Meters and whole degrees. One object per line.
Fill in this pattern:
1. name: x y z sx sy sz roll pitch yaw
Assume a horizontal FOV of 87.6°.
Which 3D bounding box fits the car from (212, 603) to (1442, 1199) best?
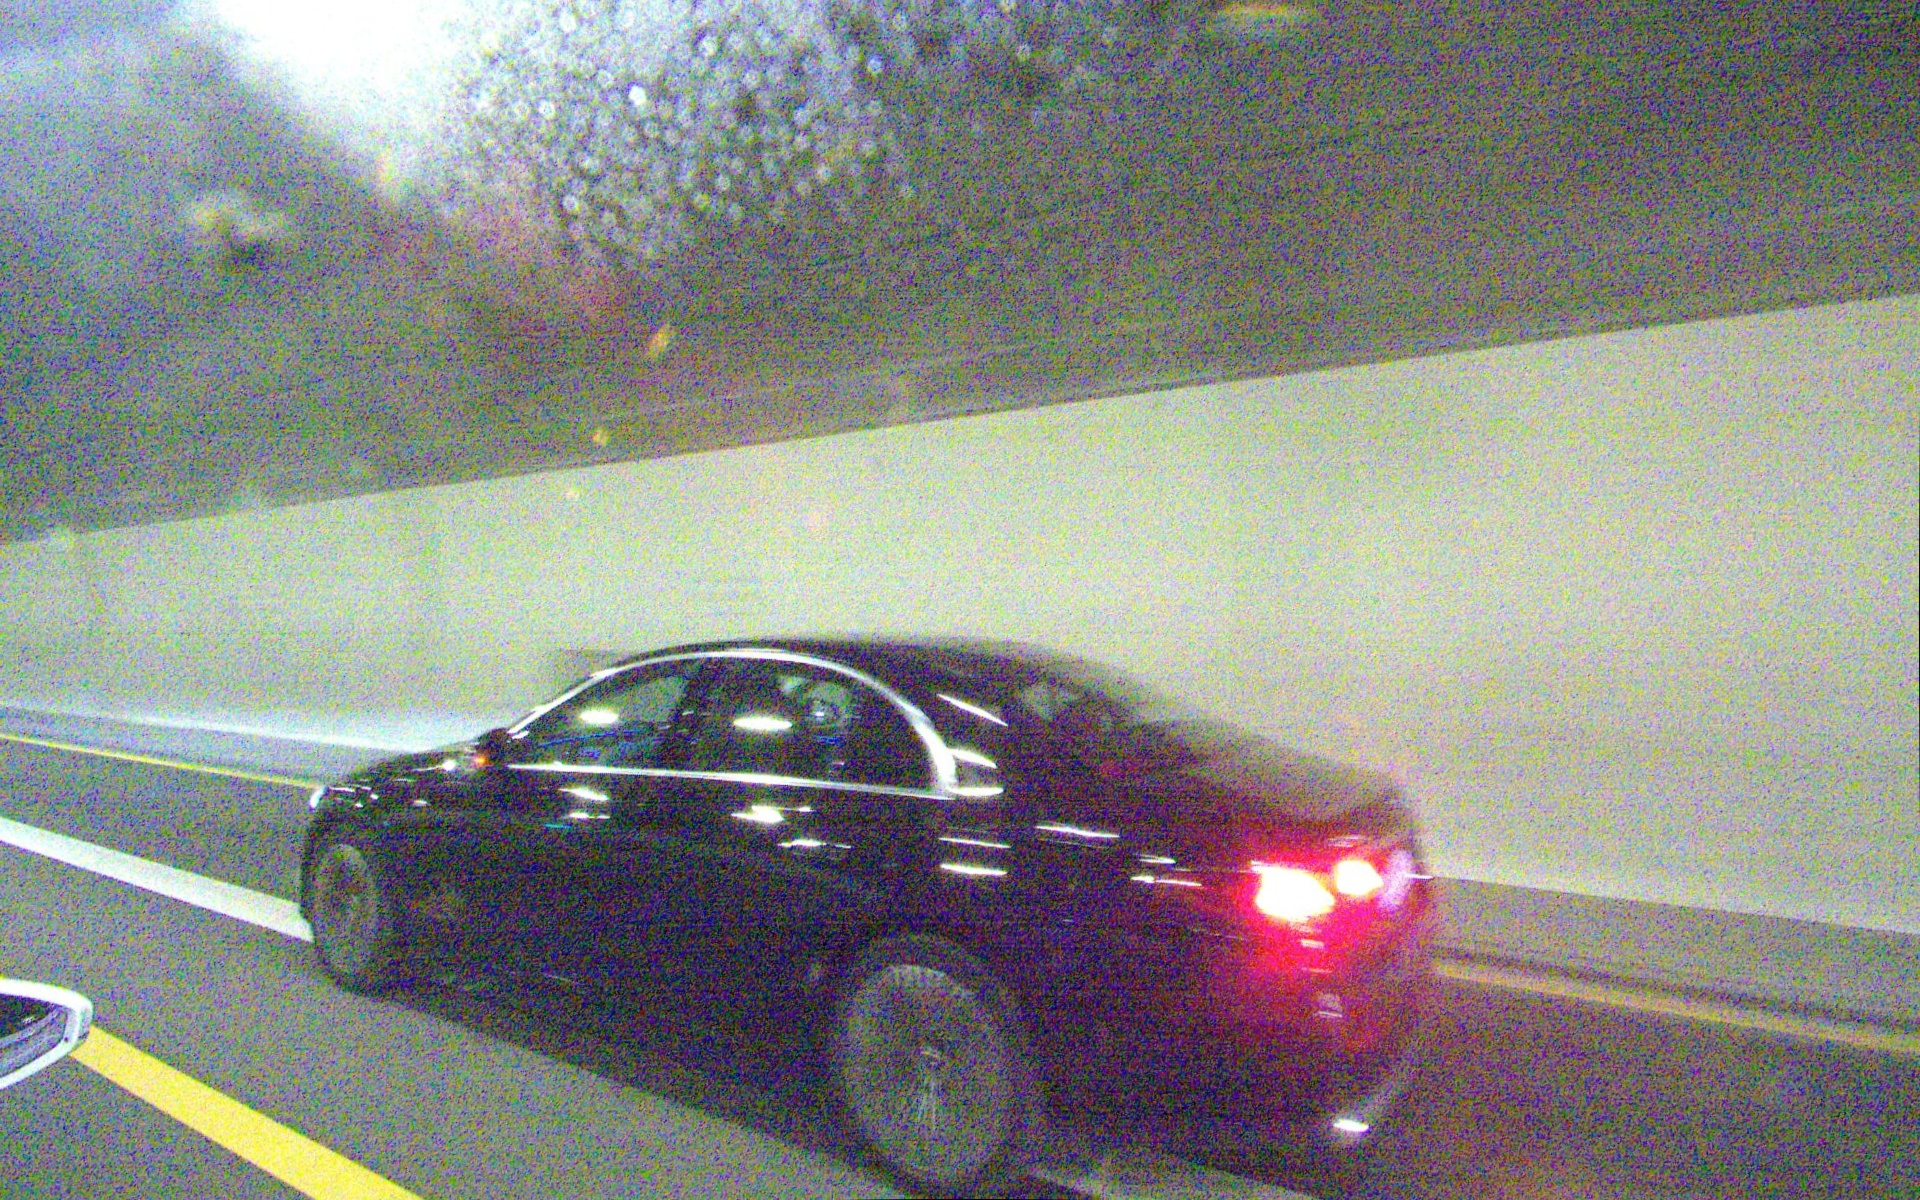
1. car: -0.845 0.838 4.078 4.884 1.491 1.923 -1 -3 33
